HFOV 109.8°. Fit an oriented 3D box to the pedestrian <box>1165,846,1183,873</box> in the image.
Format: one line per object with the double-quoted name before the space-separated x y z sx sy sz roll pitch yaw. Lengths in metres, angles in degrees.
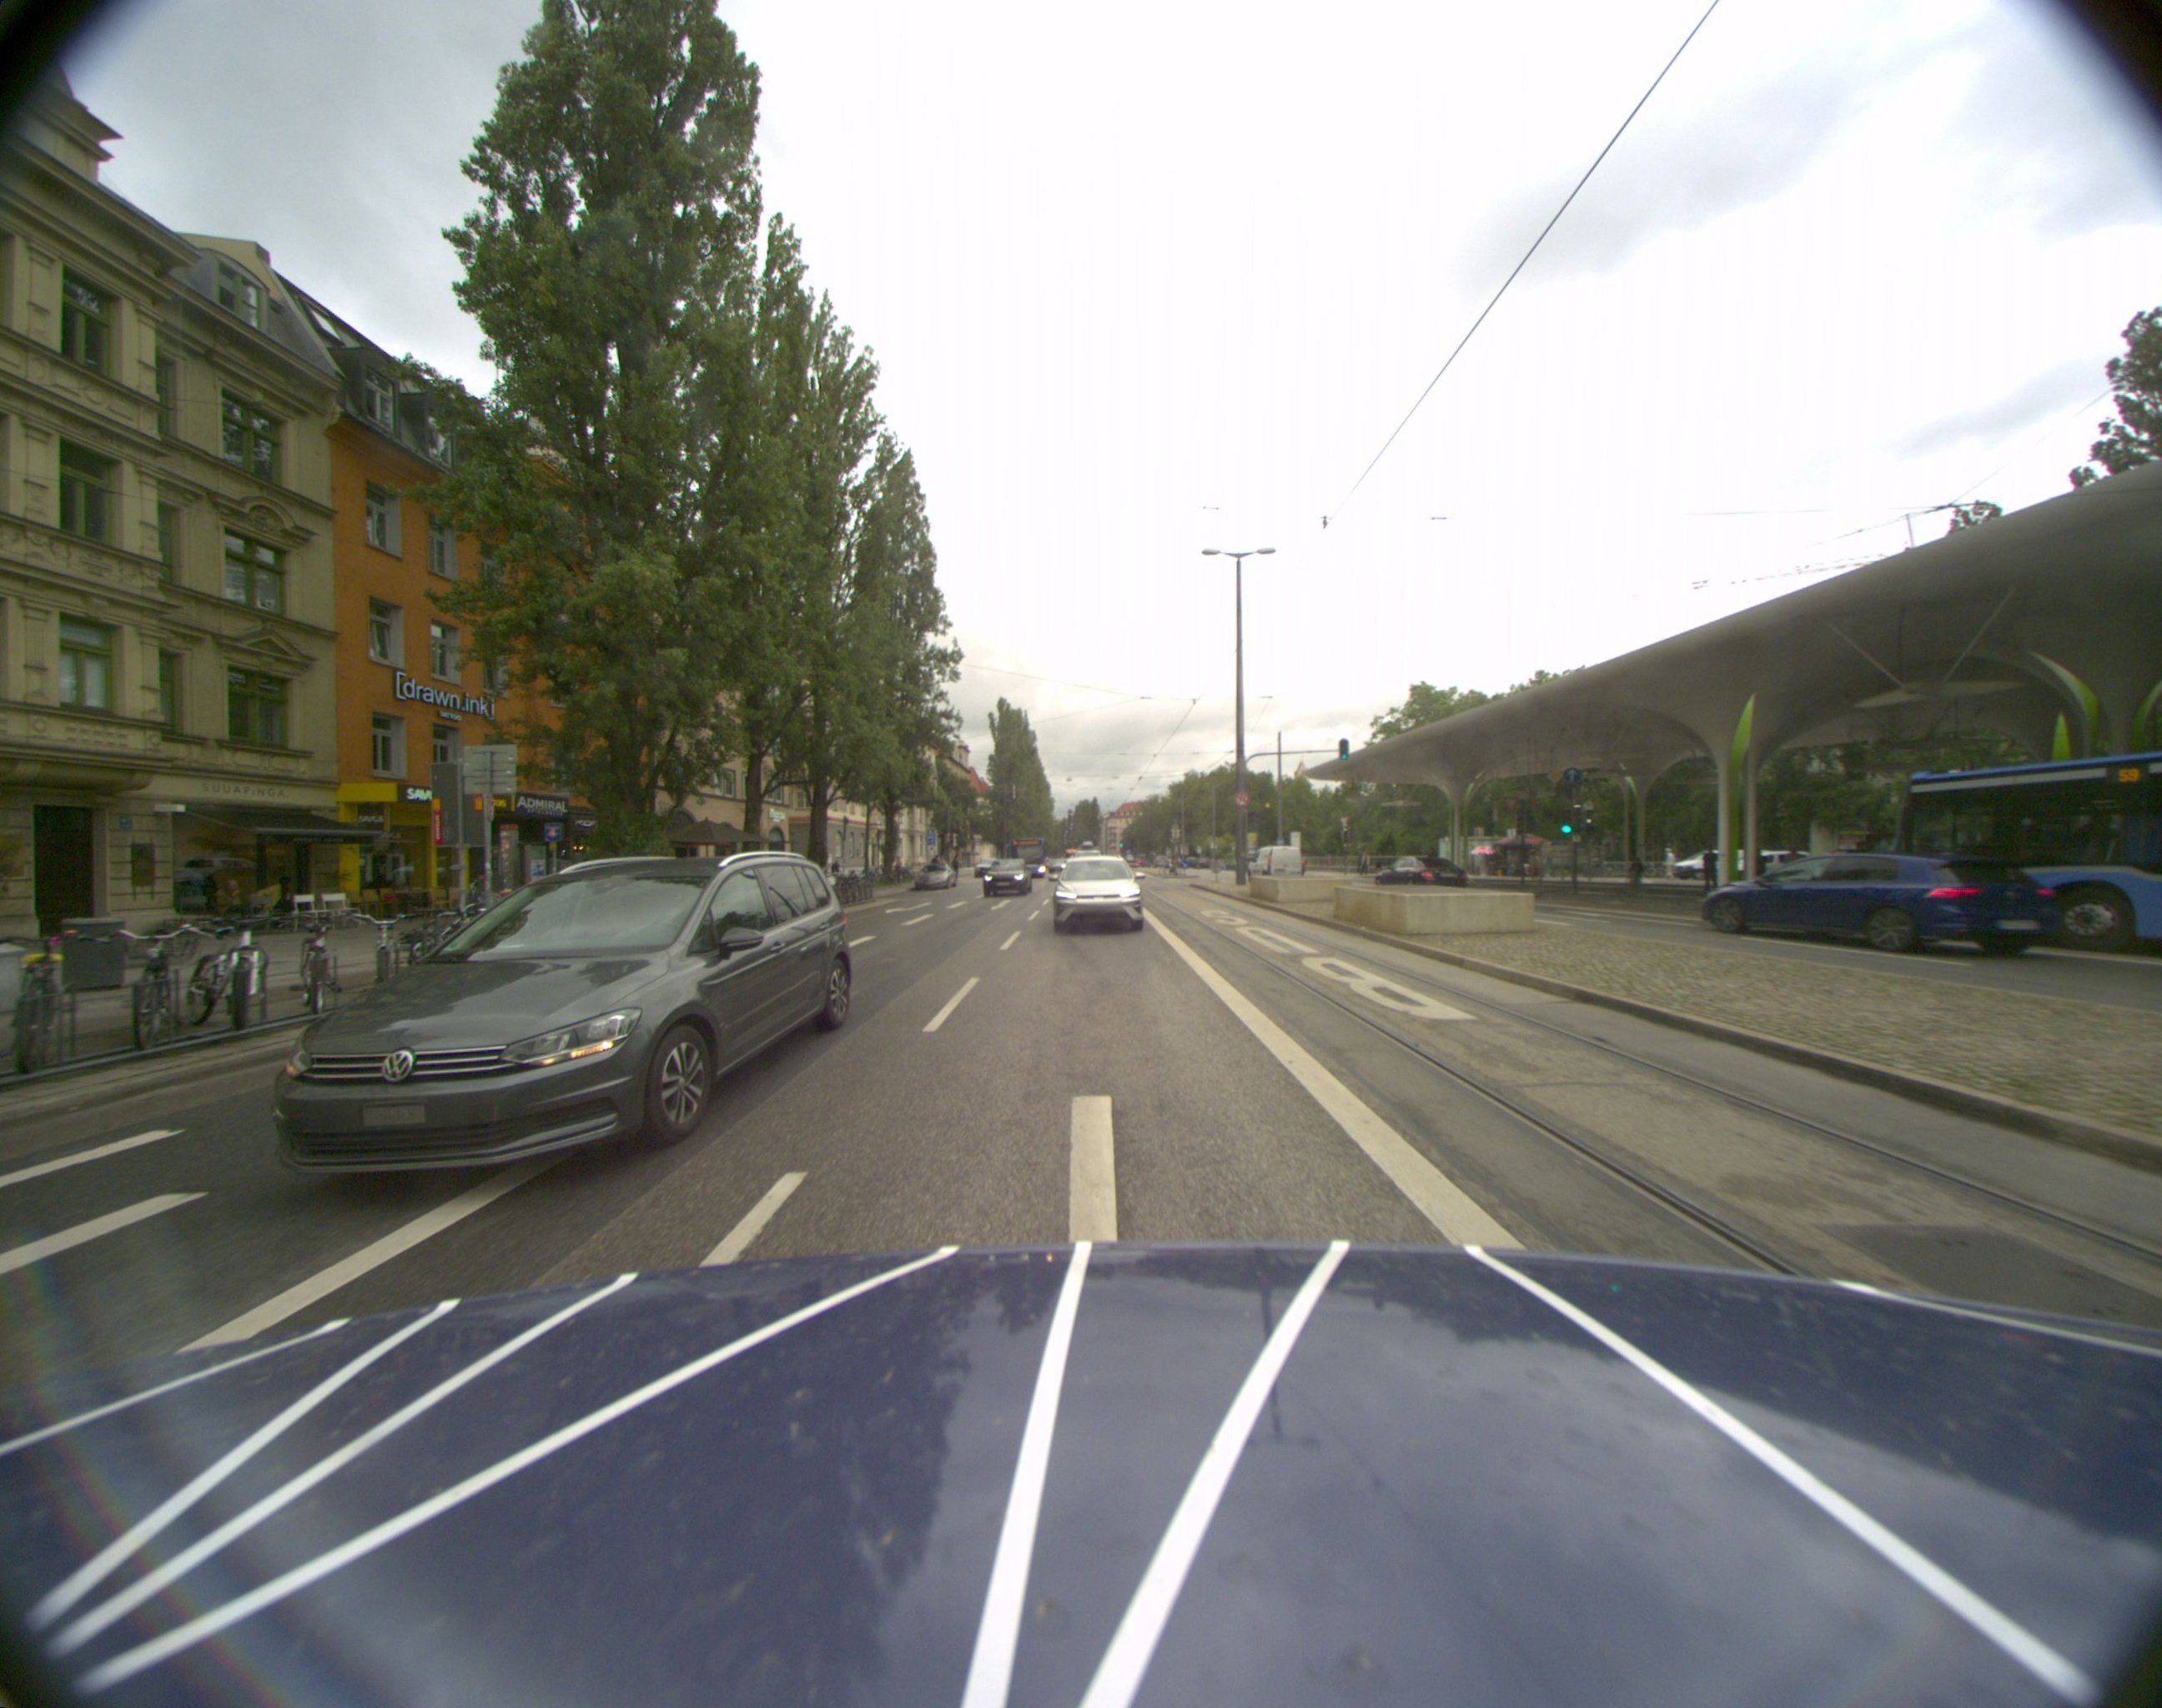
"pedestrian" 6.346 0.386 51.842 0.861 1.801 0.896 -2 1 -19

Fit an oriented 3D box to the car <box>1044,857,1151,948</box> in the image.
"car" 0.376 0.861 15.859 1.812 1.496 4.953 -3 0 2

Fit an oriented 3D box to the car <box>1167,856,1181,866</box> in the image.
"car" 15.688 1.154 128.406 1.893 1.521 4.000 0 0 1

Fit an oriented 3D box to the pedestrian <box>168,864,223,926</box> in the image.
"pedestrian" -21.283 0.970 18.272 0.626 1.466 0.583 -1 1 3

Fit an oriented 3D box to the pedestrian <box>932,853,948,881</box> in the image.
"pedestrian" -9.006 0.823 48.605 0.699 1.770 0.652 -1 0 34

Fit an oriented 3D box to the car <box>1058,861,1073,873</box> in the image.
"car" -1.822 1.596 90.941 1.704 1.360 3.632 2 0 1

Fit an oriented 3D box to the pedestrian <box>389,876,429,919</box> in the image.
"pedestrian" -19.811 1.272 22.411 0.624 1.211 0.583 -1 1 0

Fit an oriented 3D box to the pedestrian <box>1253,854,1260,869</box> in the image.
"pedestrian" 18.632 0.778 80.716 0.632 1.549 0.589 0 1 0

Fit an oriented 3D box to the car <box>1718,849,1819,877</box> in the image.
"car" 39.797 0.513 44.044 3.994 1.606 1.832 -1 0 9

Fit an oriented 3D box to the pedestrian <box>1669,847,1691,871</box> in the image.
"pedestrian" 46.409 0.388 58.897 0.910 1.856 0.981 -1 1 1

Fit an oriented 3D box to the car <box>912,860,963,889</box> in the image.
"car" -7.812 1.087 41.819 1.999 1.432 4.528 -1 0 -1

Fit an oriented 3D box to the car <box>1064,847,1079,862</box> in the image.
"car" -1.910 0.066 150.465 2.806 2.837 5.112 1 2 1

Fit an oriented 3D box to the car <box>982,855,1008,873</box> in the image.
"car" -7.753 0.916 68.979 1.730 1.567 3.967 0 0 2

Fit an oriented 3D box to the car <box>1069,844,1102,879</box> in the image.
"car" 0.290 0.452 48.617 1.998 2.100 3.999 -1 1 0

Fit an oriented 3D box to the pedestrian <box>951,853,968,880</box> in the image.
"pedestrian" -8.040 0.839 50.232 0.881 1.791 0.757 -1 0 11

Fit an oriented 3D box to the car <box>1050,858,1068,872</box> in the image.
"car" -2.293 1.162 79.458 1.704 1.424 4.246 -1 -1 1

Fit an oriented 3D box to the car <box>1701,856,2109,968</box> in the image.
"car" 12.238 0.754 11.809 1.682 1.387 4.232 0 0 -1

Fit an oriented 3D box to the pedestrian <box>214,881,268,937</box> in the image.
"pedestrian" -19.692 1.283 17.824 0.584 1.273 0.583 -1 1 0

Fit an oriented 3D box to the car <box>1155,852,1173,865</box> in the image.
"car" 11.321 0.578 103.791 1.868 1.629 4.677 1 0 -1

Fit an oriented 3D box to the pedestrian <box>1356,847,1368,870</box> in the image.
"pedestrian" 21.253 0.326 57.536 0.735 1.706 0.861 0 1 11

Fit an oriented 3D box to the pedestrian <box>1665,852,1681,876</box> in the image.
"pedestrian" 40.680 0.680 52.218 0.635 1.573 0.636 -1 1 1

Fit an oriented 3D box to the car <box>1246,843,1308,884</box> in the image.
"car" 9.382 0.446 36.707 1.791 1.844 4.217 0 0 -2

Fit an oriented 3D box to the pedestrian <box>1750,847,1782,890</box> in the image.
"pedestrian" 24.863 0.504 27.587 0.594 1.536 0.636 -1 1 -17

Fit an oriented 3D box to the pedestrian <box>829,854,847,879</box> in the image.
"pedestrian" -15.639 0.822 48.961 0.848 1.593 0.823 -1 1 0

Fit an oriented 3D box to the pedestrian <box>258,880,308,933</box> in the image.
"pedestrian" -19.597 1.280 18.663 0.584 1.273 0.583 -1 1 0

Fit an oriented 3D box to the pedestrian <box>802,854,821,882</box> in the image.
"pedestrian" -16.402 0.861 46.298 0.748 1.675 1.017 -1 1 1

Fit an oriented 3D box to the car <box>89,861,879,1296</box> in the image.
"car" -3.060 0.945 5.446 1.776 1.637 4.708 -3 0 1

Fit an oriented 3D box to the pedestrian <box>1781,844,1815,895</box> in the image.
"pedestrian" 24.749 0.513 26.237 0.671 1.717 0.812 0 1 30

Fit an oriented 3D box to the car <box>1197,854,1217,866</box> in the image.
"car" 16.127 0.755 97.200 1.864 1.517 4.233 0 0 1

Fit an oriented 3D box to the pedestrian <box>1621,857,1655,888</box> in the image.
"pedestrian" 23.000 0.748 31.411 0.811 1.223 1.272 0 0 19

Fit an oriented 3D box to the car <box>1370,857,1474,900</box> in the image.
"car" 12.363 0.825 27.861 1.677 1.370 4.613 -2 0 -1

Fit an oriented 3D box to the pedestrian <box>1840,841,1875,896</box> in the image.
"pedestrian" 26.769 0.482 26.211 0.711 1.862 0.880 0 1 35

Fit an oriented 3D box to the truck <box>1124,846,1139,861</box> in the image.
"truck" 10.328 -0.049 157.184 2.572 3.069 7.690 1 0 0

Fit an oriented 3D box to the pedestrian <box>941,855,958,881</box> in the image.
"pedestrian" -8.502 0.898 49.150 0.758 1.628 0.699 -1 0 -42

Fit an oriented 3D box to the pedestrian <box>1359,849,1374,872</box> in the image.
"pedestrian" 20.203 0.478 53.782 0.739 1.619 0.741 -1 1 -20

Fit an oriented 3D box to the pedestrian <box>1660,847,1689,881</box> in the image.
"pedestrian" 35.472 0.601 45.440 1.003 2.002 1.028 0 1 8

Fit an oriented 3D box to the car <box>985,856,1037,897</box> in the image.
"car" -2.939 0.918 32.772 1.780 1.495 3.970 -3 0 1

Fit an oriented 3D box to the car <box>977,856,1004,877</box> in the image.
"car" -7.607 1.035 64.111 1.737 1.651 4.502 -1 0 0

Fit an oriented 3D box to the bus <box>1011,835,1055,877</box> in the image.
"bus" -3.642 0.153 59.991 2.637 2.956 9.466 -3 0 1

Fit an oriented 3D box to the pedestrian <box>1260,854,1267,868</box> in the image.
"pedestrian" 19.433 0.740 80.938 0.632 1.549 0.589 0 1 0

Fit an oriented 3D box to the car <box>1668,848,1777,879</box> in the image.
"car" 39.984 0.585 47.452 4.923 1.936 1.872 0 0 11

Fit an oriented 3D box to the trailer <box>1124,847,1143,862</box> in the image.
"trailer" 10.303 0.113 149.448 2.616 2.666 15.639 1 0 0

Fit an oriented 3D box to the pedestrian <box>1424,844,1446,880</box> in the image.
"pedestrian" 18.272 0.405 39.207 0.667 1.828 0.808 -1 1 -32

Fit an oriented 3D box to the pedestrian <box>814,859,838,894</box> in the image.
"pedestrian" -11.320 0.997 33.734 0.761 1.553 0.763 -1 0 2

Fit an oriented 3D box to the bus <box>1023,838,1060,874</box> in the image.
"bus" -3.513 0.138 69.013 2.637 2.956 8.534 -3 0 1

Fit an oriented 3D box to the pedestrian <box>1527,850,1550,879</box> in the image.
"pedestrian" 25.810 0.575 42.889 0.749 1.600 0.837 -1 1 -28

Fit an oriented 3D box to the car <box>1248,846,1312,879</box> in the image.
"car" 11.959 0.479 46.138 2.181 1.876 6.155 1 0 -1

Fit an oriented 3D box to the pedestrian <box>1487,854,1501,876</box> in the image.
"pedestrian" 30.082 0.767 55.385 0.739 1.591 0.798 0 1 16

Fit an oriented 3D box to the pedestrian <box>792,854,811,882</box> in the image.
"pedestrian" -17.505 0.875 47.579 0.748 1.704 1.017 -1 1 1

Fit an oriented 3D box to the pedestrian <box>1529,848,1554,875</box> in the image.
"pedestrian" 30.629 0.515 50.550 1.031 1.752 0.957 0 1 0

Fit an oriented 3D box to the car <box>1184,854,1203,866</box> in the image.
"car" 15.875 0.831 107.327 1.998 1.561 4.101 -1 0 0

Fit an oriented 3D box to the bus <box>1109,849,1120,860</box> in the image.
"bus" 9.827 0.180 223.797 2.632 2.949 13.414 1 0 -1
